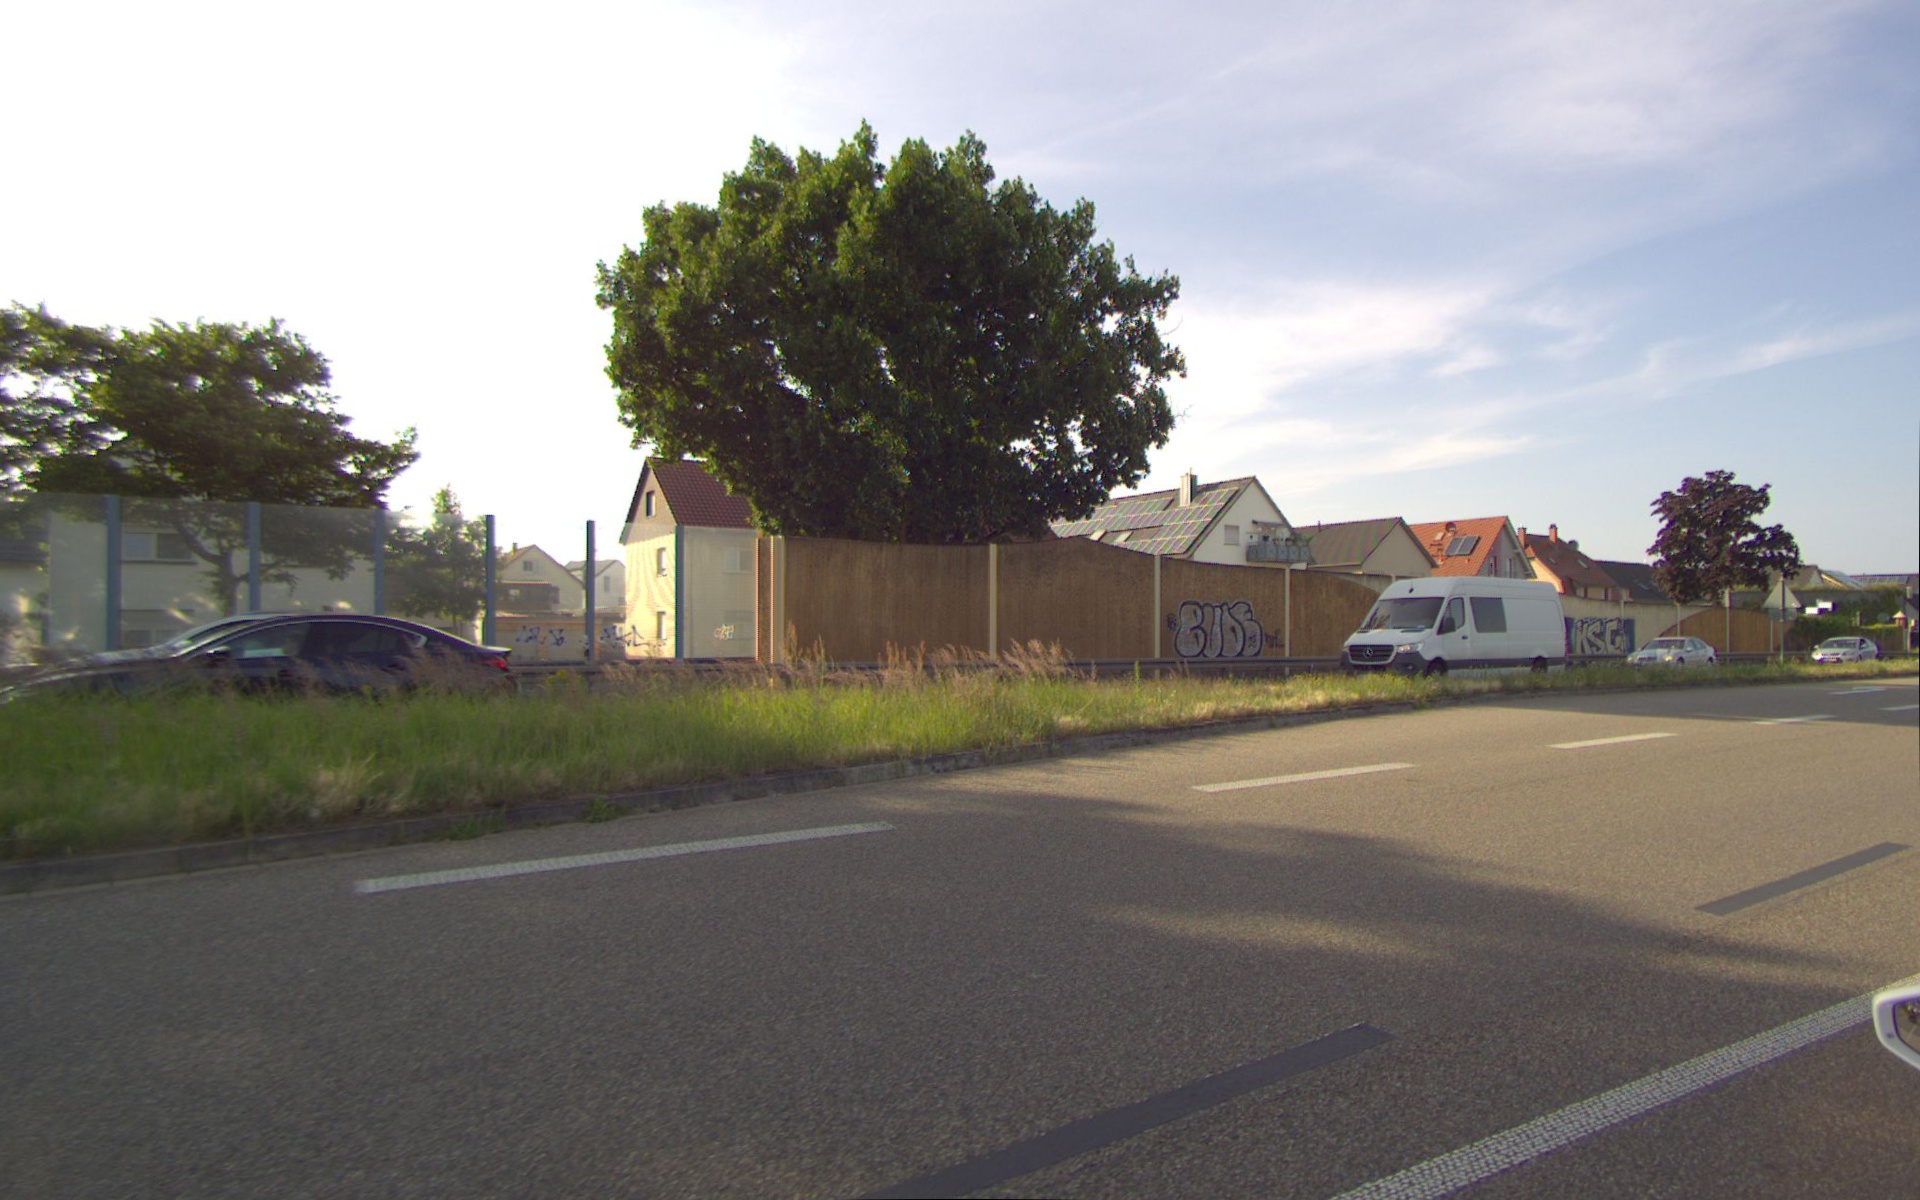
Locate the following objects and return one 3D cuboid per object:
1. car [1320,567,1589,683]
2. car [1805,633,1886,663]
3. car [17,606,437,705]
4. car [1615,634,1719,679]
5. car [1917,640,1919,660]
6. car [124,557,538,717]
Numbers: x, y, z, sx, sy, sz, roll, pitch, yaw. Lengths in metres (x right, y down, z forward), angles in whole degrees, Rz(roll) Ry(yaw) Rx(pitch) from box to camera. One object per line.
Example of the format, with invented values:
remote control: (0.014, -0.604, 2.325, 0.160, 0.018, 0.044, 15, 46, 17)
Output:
car: (11.558, 0.549, 23.188, 7.116, 2.334, 2.333, 1, 1, -34)
car: (42.947, 2.304, 48.712, 4.555, 1.340, 1.770, 1, 0, -33)
car: (-9.611, 0.689, 13.628, 4.363, 1.120, 1.659, 1, 0, -32)
car: (27.406, 2.151, 38.908, 4.661, 1.588, 1.642, 1, 1, -33)
car: (57.261, 2.943, 58.548, 3.028, 1.179, 1.465, 1, 0, -33)
car: (-6.582, 0.356, 10.837, 3.529, 1.461, 1.639, 1, 1, -33)
